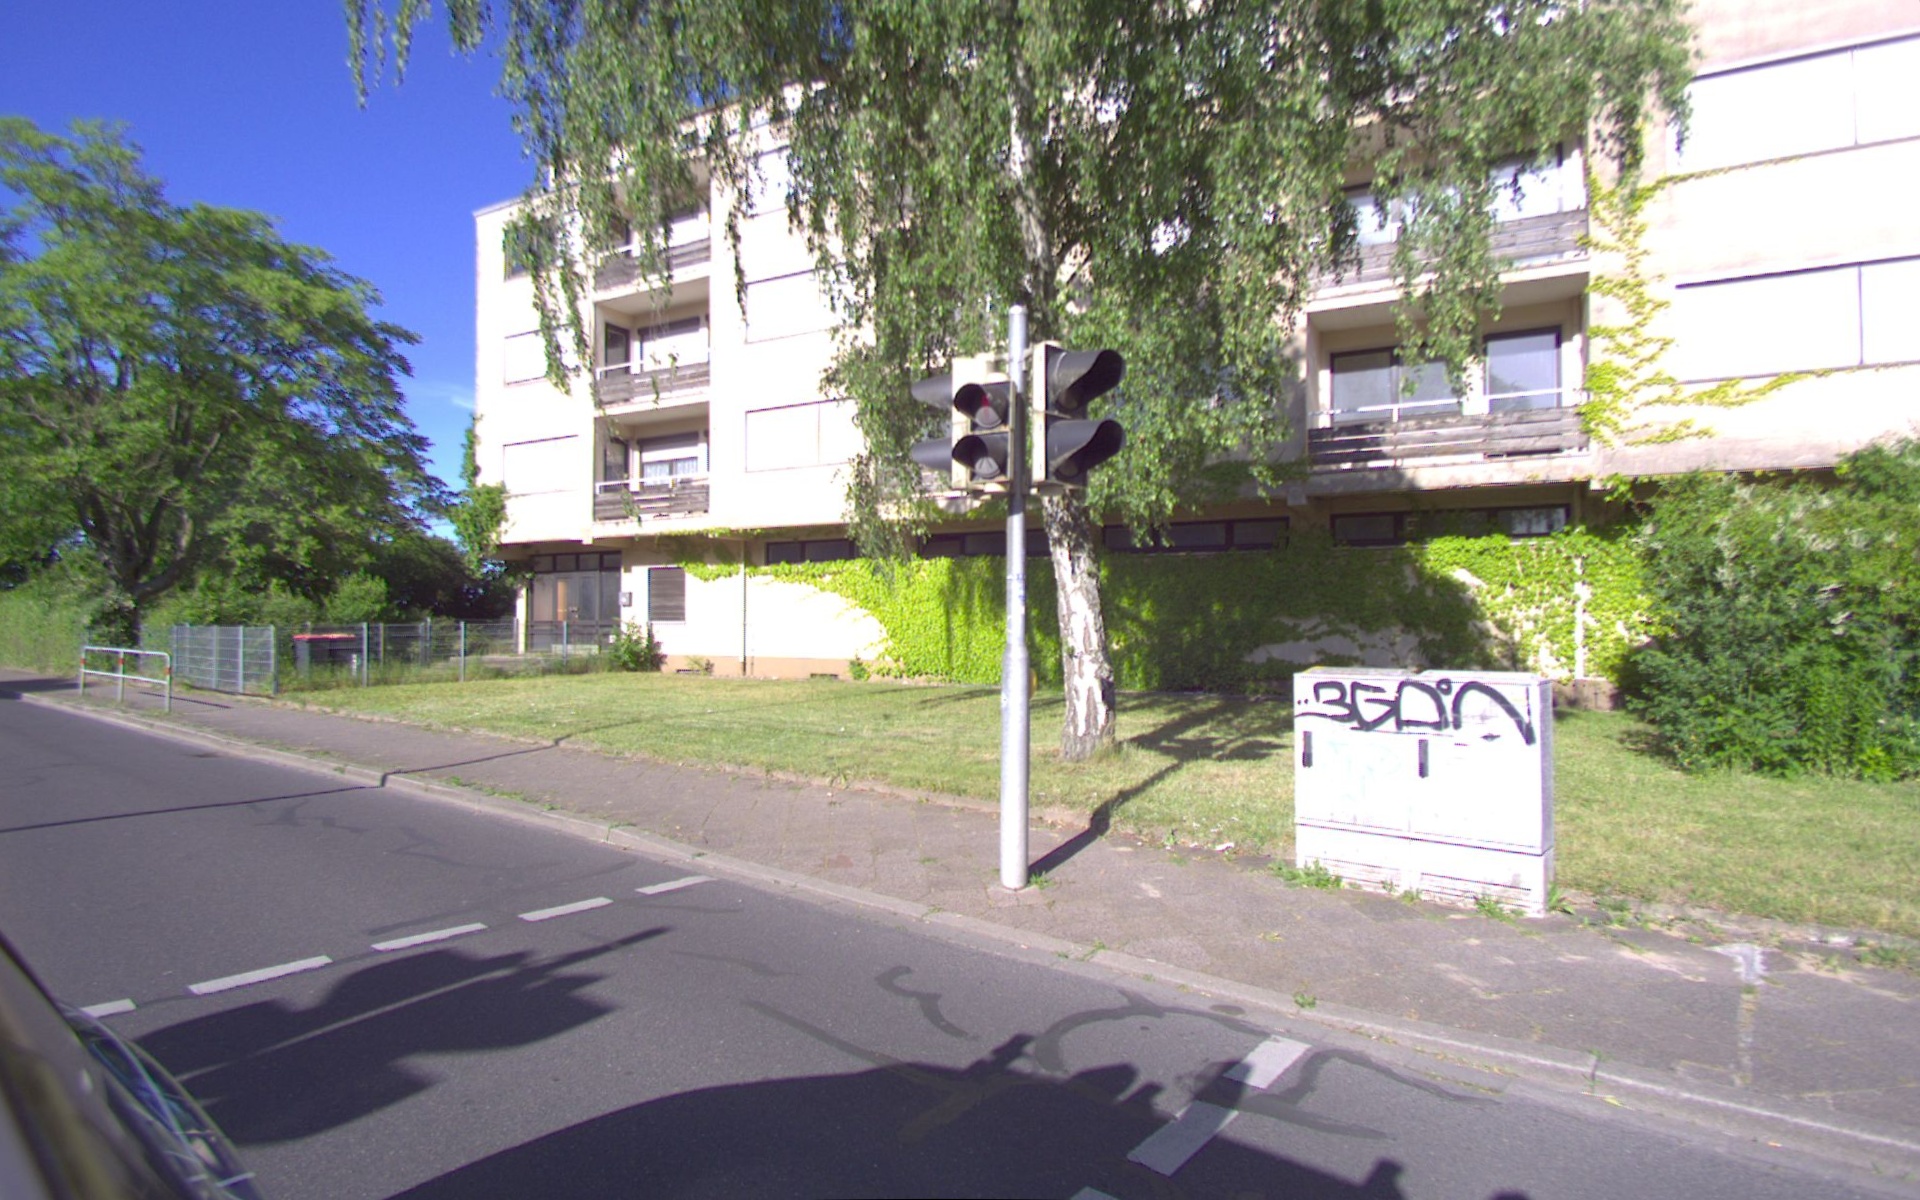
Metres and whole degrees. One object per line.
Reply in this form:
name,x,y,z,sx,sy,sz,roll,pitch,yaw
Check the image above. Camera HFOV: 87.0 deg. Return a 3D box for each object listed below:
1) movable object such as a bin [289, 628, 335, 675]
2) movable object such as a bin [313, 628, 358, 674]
movable object such as a bin,-14.469,1.137,22.584,0.709,1.032,0.616,-1,-2,34
movable object such as a bin,-14.202,1.155,23.023,0.709,1.032,0.616,-1,-2,34
